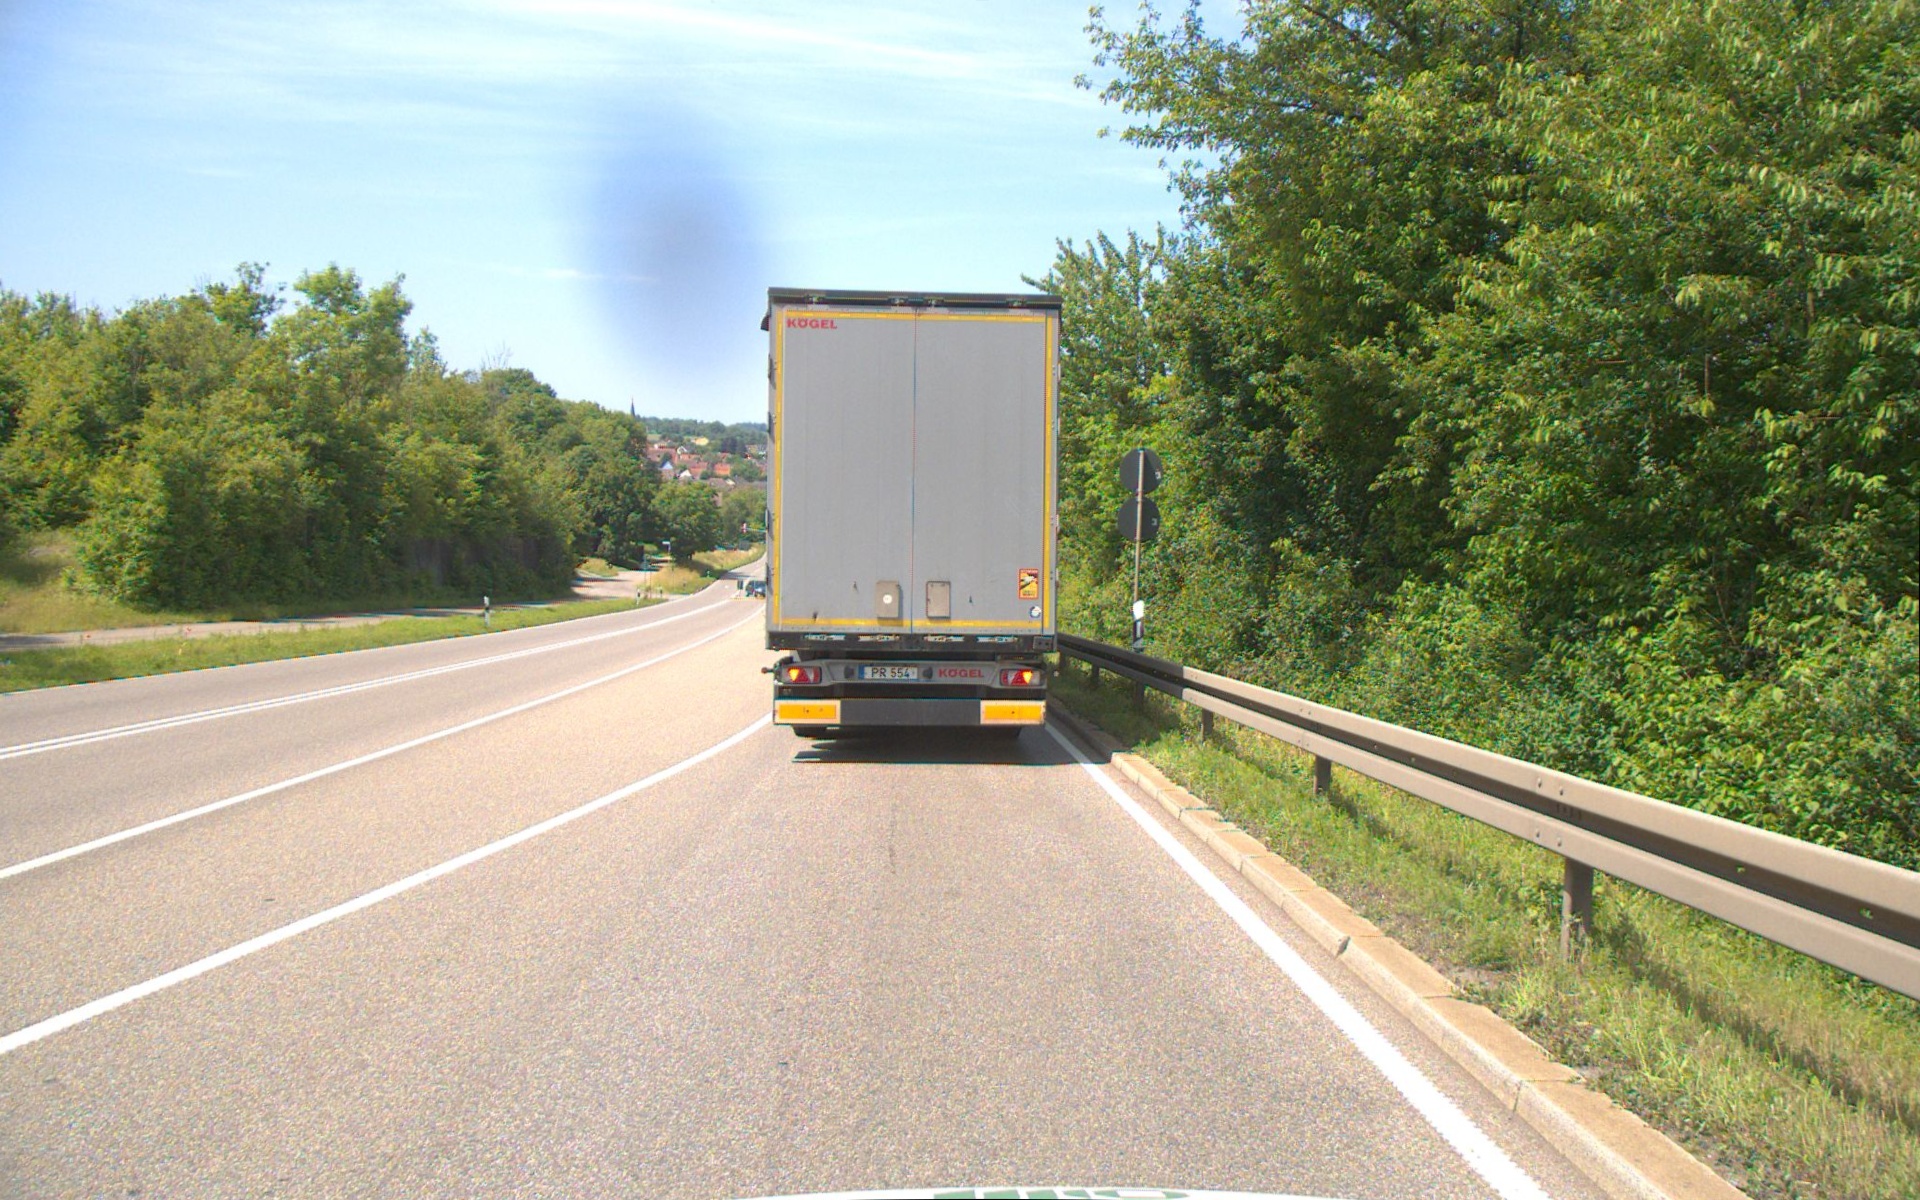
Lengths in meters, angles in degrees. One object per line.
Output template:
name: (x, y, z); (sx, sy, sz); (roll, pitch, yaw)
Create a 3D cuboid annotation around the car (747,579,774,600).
car: (-17.680, -0.929, 146.499); (1.776, 1.825, 3.825); (1, 0, -16)

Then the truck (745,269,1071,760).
truck: (-0.518, -0.766, 19.843); (2.701, 4.100, 11.922); (0, 0, -1)
